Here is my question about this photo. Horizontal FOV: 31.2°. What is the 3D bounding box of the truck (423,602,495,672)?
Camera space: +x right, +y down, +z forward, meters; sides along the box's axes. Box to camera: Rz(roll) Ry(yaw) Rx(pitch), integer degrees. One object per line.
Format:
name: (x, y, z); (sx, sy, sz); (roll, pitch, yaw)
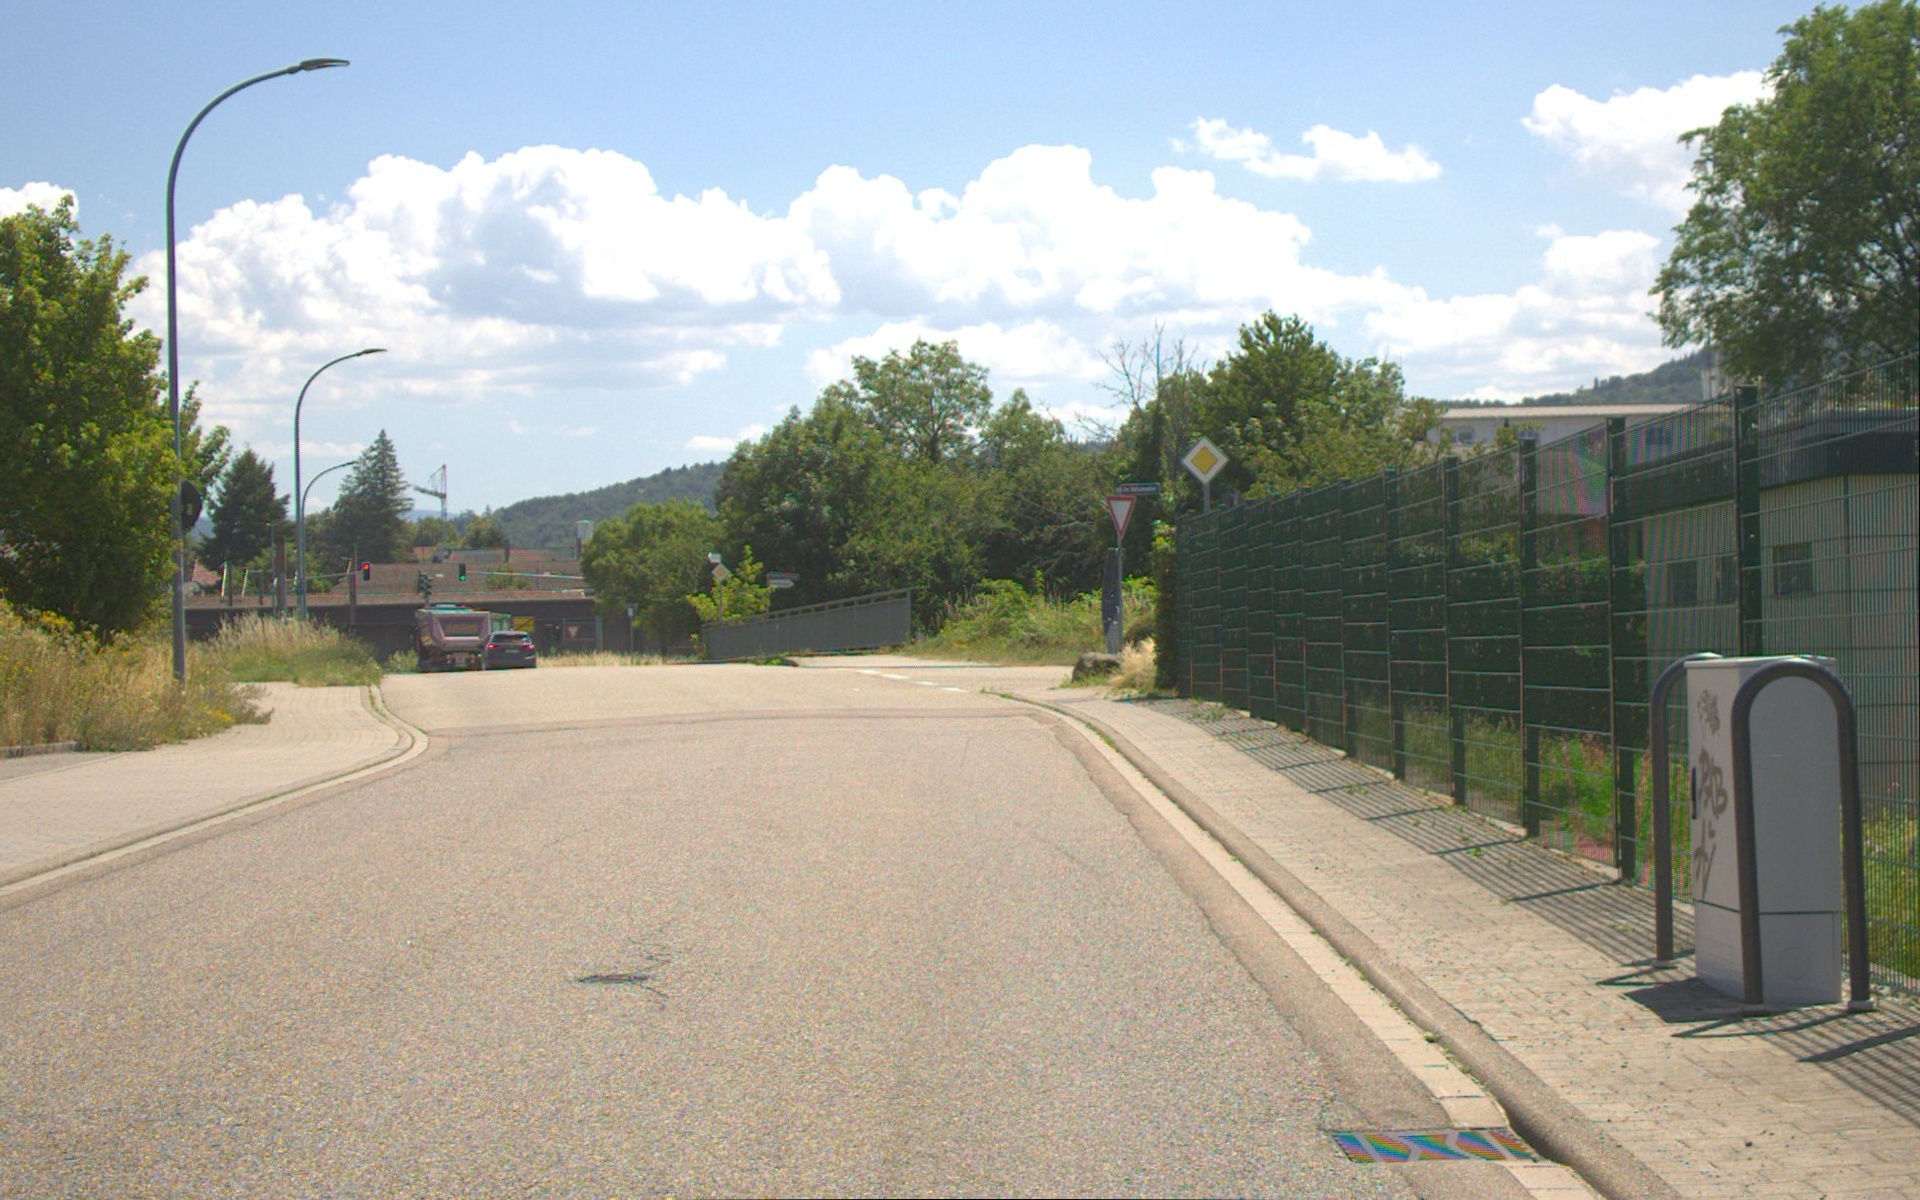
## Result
truck: (-20.914, 1.525, 143.377); (2.682, 2.763, 6.091); (0, 1, -11)

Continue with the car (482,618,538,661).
car: (-15.915, 1.387, 121.563); (1.775, 1.443, 3.453); (0, 1, -11)
